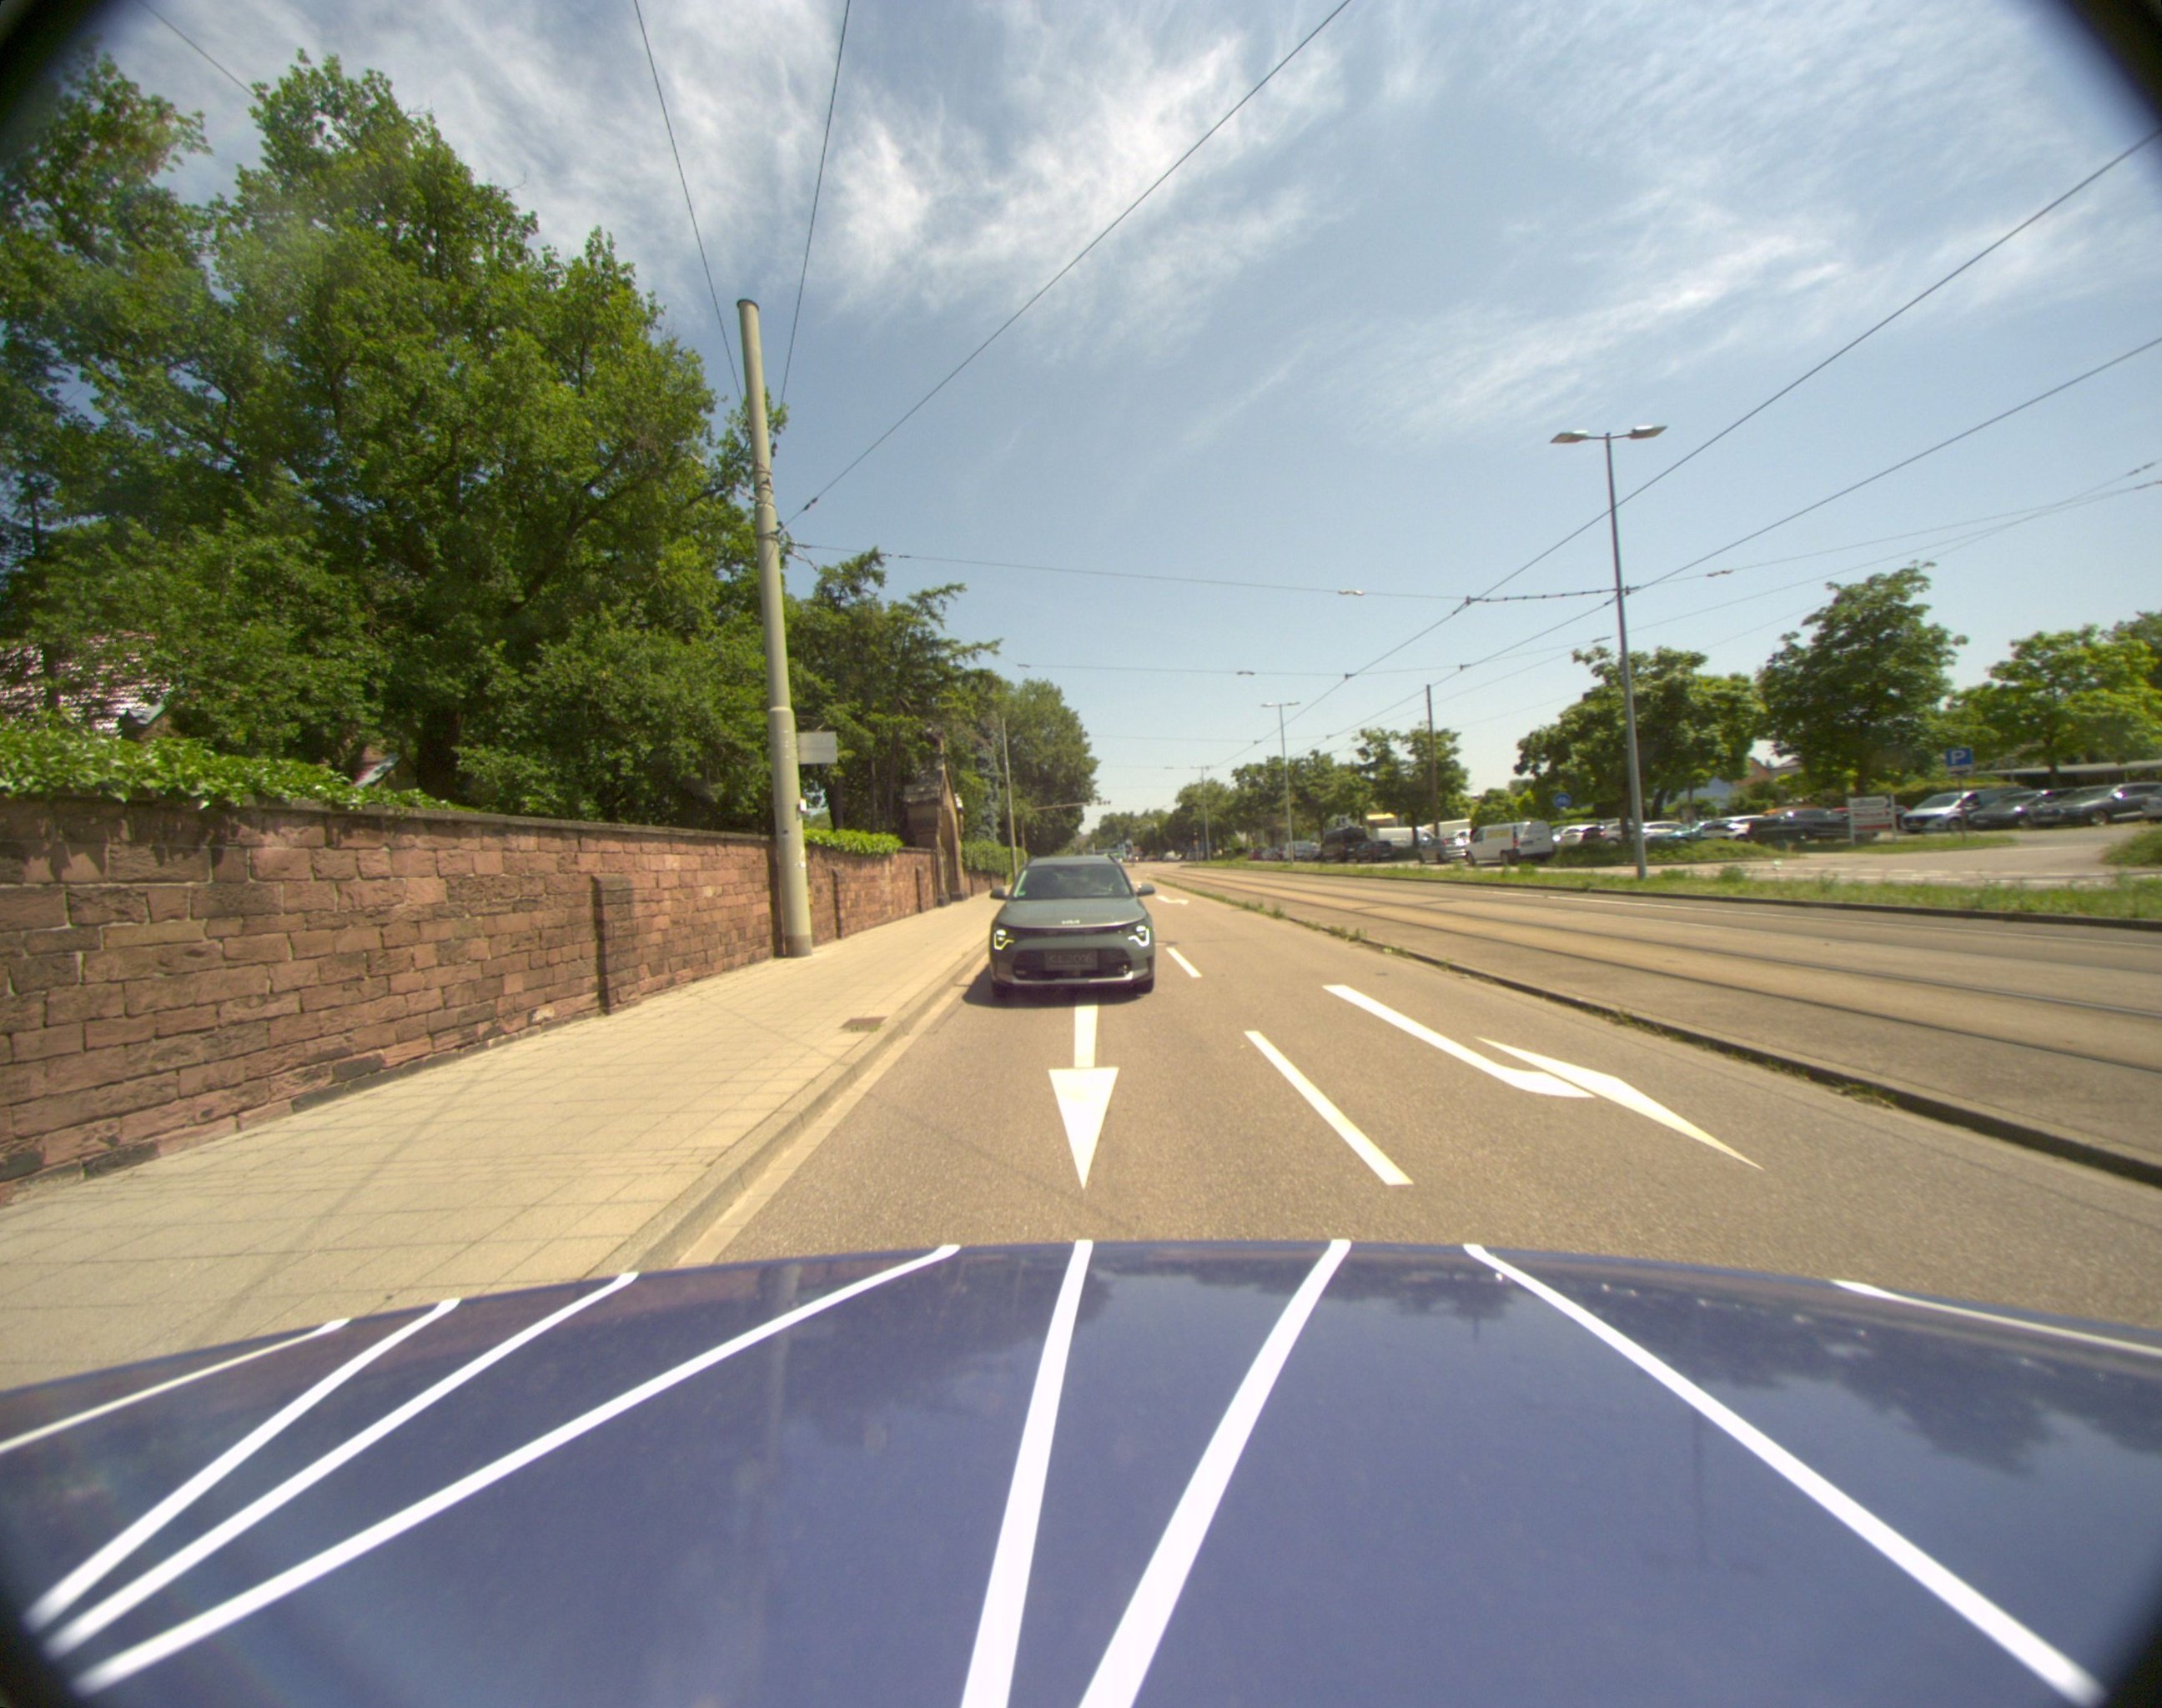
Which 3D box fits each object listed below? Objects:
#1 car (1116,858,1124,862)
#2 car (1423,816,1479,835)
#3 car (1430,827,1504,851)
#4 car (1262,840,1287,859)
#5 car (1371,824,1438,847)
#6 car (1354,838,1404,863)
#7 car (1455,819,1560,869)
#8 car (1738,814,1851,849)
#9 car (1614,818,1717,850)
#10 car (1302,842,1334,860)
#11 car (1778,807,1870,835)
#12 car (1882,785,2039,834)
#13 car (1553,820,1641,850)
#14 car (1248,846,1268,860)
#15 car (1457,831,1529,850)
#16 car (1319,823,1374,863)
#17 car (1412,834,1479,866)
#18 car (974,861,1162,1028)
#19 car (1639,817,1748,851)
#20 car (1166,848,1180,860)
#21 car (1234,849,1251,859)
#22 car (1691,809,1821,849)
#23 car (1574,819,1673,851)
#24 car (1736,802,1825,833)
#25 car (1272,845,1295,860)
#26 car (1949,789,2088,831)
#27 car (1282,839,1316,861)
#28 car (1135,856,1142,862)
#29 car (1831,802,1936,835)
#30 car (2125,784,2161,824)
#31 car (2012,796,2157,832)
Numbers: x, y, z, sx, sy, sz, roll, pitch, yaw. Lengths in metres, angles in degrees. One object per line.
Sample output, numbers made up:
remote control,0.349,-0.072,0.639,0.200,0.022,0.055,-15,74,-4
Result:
car,12.139,1.922,237.075,1.781,1.310,3.752,-3,1,-5
car,44.948,-3.436,92.472,5.744,2.051,2.147,-3,1,-2
car,31.281,-1.201,61.687,4.926,1.567,2.000,-4,0,-2
car,20.953,-0.482,82.386,1.635,1.882,4.496,-3,1,1
car,30.865,-1.769,72.588,5.434,1.944,2.029,-3,1,3
car,20.352,-0.232,51.986,1.976,1.568,3.752,-3,1,1
car,20.033,-0.454,36.012,1.880,1.999,5.344,-7,0,2
car,30.514,-0.955,32.547,3.423,1.225,1.643,-4,0,-6
car,30.932,-1.052,40.254,4.146,1.481,1.859,-3,1,-6
car,20.661,-0.244,66.401,1.767,1.456,3.608,-3,1,2
car,44.239,-1.947,45.284,3.999,1.486,1.715,-3,1,-5
car,43.347,-2.155,37.549,5.120,2.058,2.226,-3,1,1
car,30.871,-1.110,45.498,4.075,1.481,1.831,-4,0,-6
car,20.724,-0.144,89.030,1.582,1.471,3.423,-3,1,3
car,30.975,-0.979,57.157,4.261,1.137,2.032,-4,0,-3
car,20.289,-0.833,58.345,2.243,2.821,5.667,-3,1,2
car,20.167,-0.231,42.235,1.654,1.494,4.126,-7,0,2
car,-0.136,0.917,9.704,1.824,1.577,4.287,-2,0,0
car,30.402,-0.974,37.799,4.040,1.481,1.912,-3,1,-6
car,16.911,-0.051,139.519,1.821,1.979,4.212,-3,1,-2
car,21.486,-0.003,101.072,1.582,1.152,3.423,-3,1,3
car,31.115,-1.130,35.113,4.171,1.481,1.984,-4,0,0
car,30.431,-1.069,42.668,4.163,1.481,2.023,-4,0,-6
car,43.743,-2.258,47.564,4.129,1.643,1.692,-3,0,-5
car,20.724,-0.133,77.794,1.429,1.470,3.262,-3,1,1
car,43.252,-2.001,35.128,3.996,1.647,1.804,-3,1,3
car,20.657,-0.410,72.253,1.924,1.937,4.817,-3,1,2
car,15.687,1.327,208.097,1.820,1.471,3.423,-3,1,3
car,44.064,-1.935,41.780,3.997,1.576,1.684,-3,1,-1
car,43.873,-2.035,29.563,3.996,1.511,1.661,-3,1,3
car,42.737,-1.694,32.431,3.724,1.277,1.764,-3,1,3
